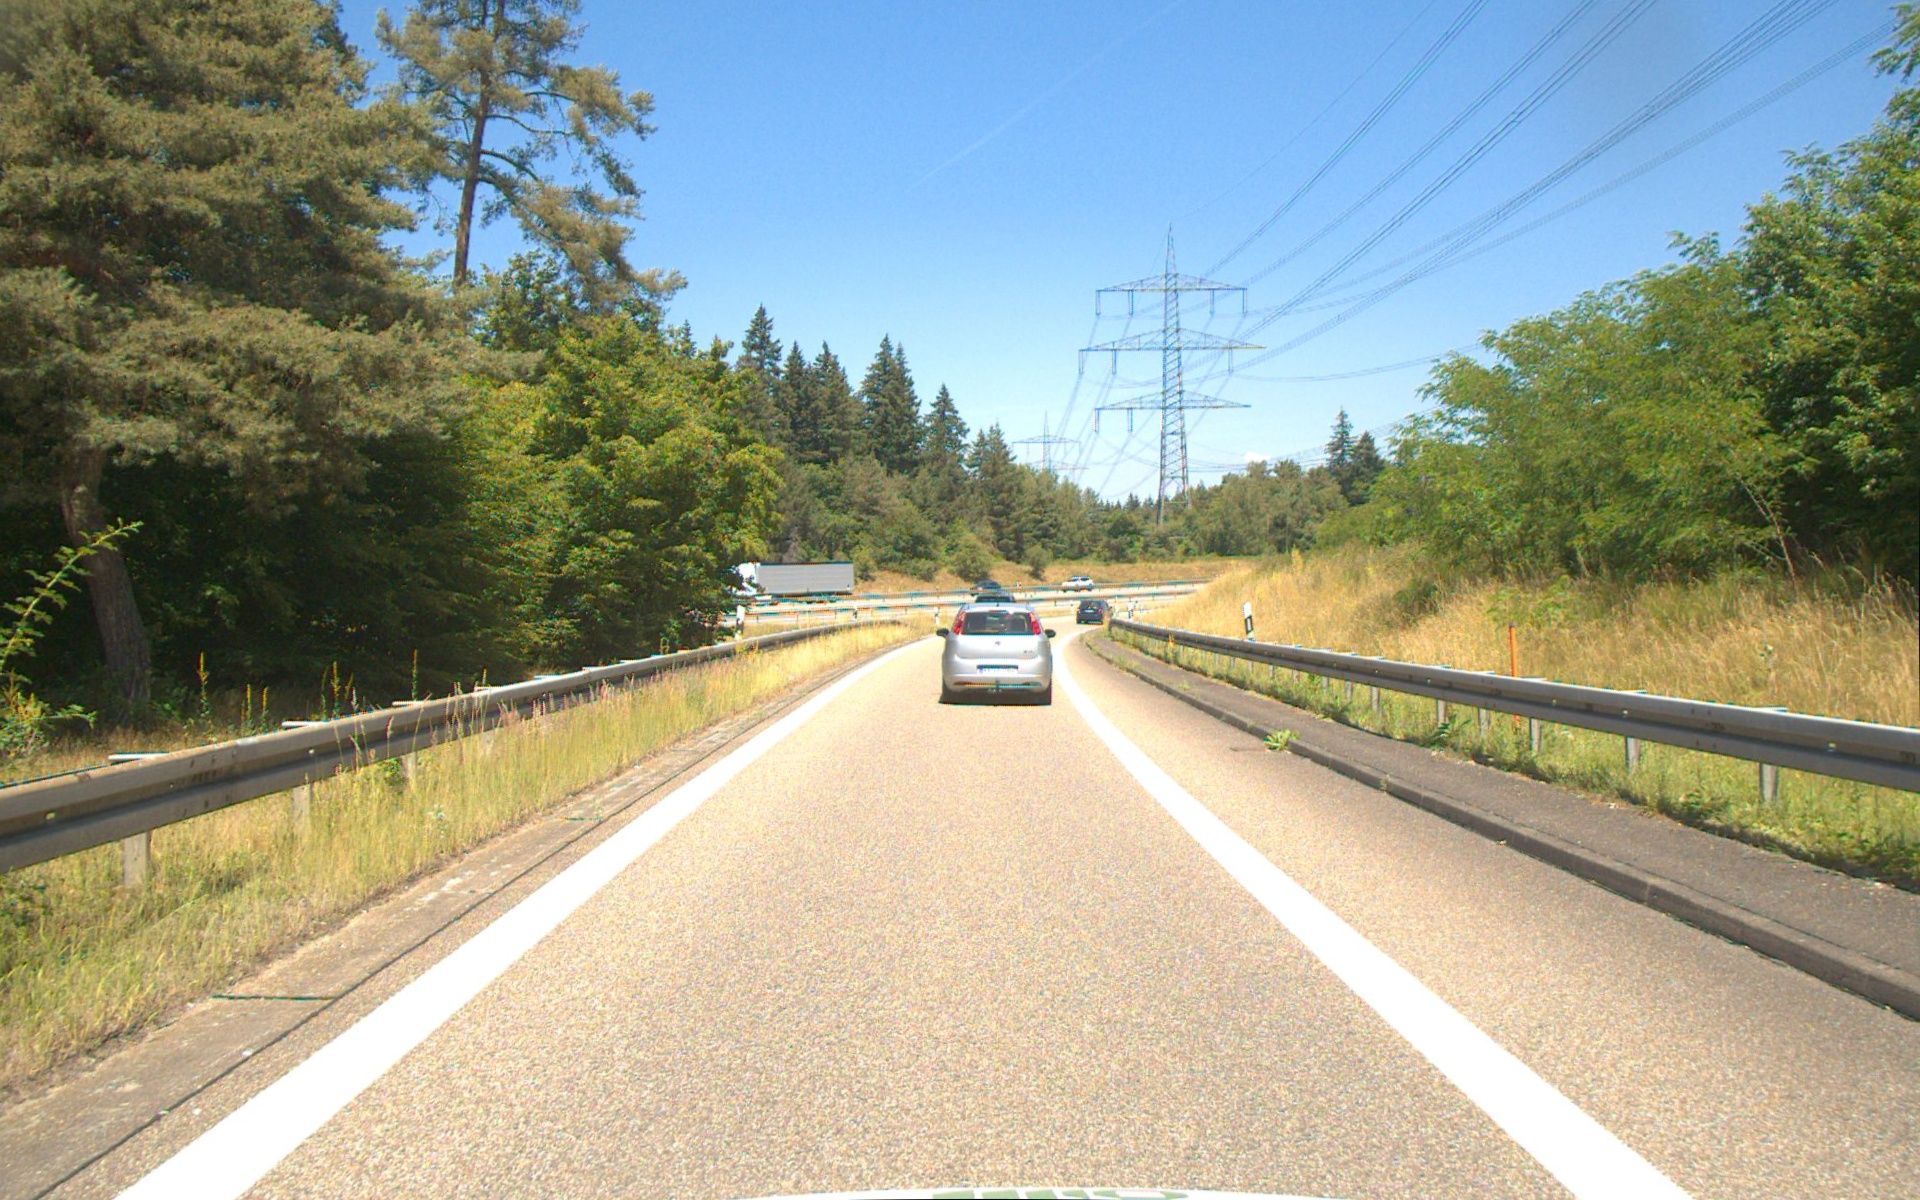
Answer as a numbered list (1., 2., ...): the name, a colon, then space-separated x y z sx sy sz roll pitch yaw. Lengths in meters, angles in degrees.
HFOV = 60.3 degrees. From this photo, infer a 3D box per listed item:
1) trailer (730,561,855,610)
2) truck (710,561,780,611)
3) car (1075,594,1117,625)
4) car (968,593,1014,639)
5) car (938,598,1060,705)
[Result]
1. trailer: -16.307 -1.523 162.570 2.879 4.463 14.226 -2 0 39
2. truck: -20.456 -1.352 157.499 2.894 4.469 6.239 -2 0 40
3. car: 8.203 0.540 99.304 1.841 1.713 4.004 -3 0 14
4. car: 1.221 0.593 64.278 1.671 1.705 3.399 0 1 3
5. car: 0.533 0.736 25.259 1.672 1.508 3.396 1 0 -2
